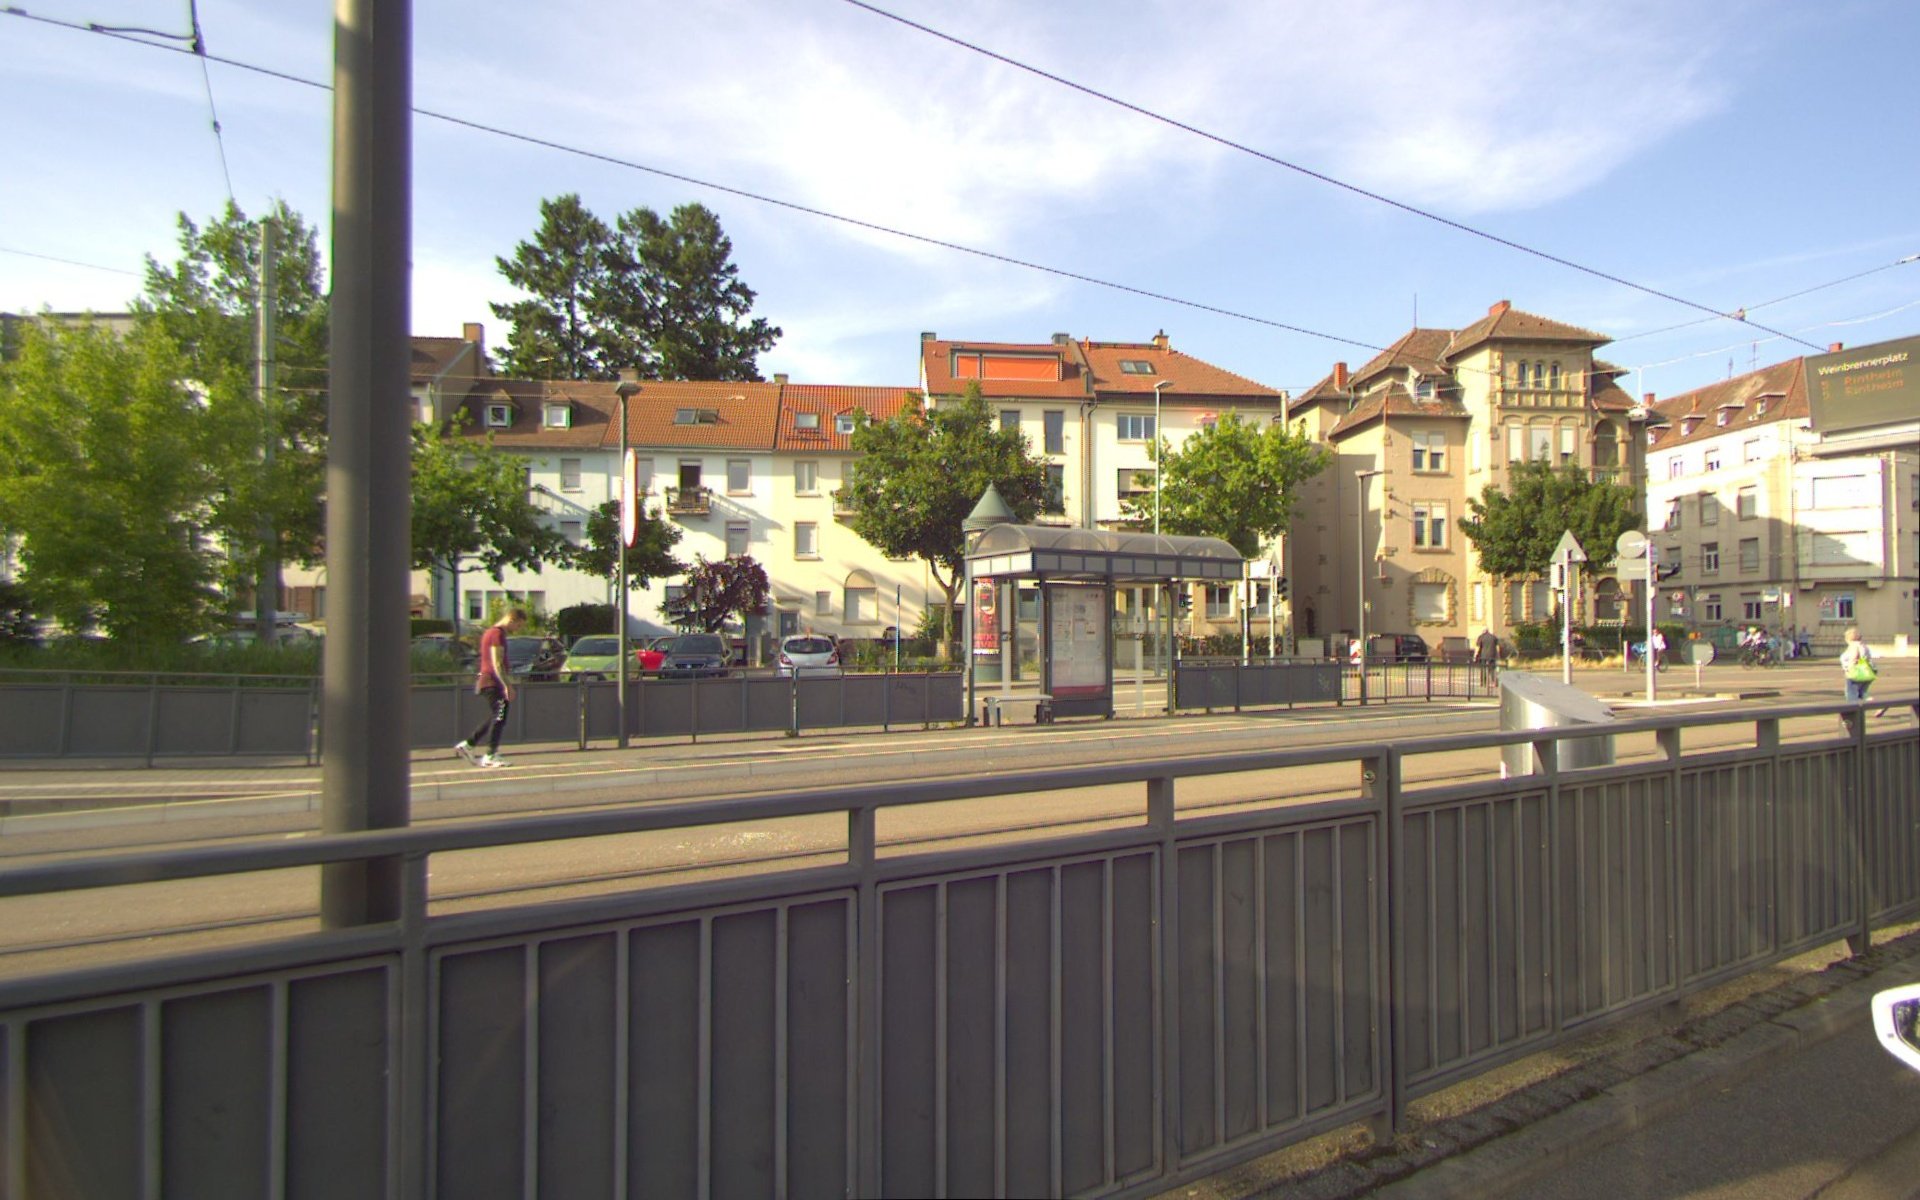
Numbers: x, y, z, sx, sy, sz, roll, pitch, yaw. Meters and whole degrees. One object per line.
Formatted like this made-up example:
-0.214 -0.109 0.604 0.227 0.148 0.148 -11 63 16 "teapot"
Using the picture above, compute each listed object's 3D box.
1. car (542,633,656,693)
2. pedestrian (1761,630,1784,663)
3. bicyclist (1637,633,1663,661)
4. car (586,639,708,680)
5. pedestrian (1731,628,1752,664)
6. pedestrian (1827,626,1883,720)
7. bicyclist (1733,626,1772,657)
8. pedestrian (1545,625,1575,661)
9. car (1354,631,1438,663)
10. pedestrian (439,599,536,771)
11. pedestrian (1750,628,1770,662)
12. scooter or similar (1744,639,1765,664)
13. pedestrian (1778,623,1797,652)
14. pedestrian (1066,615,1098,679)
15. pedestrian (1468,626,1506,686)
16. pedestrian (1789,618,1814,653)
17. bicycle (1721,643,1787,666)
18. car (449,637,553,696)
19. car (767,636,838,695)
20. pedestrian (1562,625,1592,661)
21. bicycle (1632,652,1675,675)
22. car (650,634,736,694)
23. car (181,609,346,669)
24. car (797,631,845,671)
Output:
-9.677 1.659 27.265 1.813 1.505 3.999 0 -2 -3 "car"
38.127 2.182 47.135 0.702 1.561 0.626 1 -2 -30 "pedestrian"
25.874 1.756 37.664 0.670 1.058 0.511 1 -2 -23 "bicyclist"
-11.225 2.124 36.249 3.927 1.416 1.836 0 -2 -9 "car"
35.185 2.068 45.230 0.601 1.647 0.506 1 -2 -29 "pedestrian"
15.880 1.278 17.824 0.627 1.620 0.608 1 -2 -36 "pedestrian"
32.680 1.702 41.414 1.157 1.278 0.762 1 -2 -22 "bicyclist"
26.884 1.914 45.002 0.768 1.572 0.831 0 -2 -8 "pedestrian"
20.371 2.172 47.130 1.732 1.327 4.111 2 0 -7 "car"
-4.911 0.876 10.451 0.867 1.706 0.551 1 -5 -30 "pedestrian"
35.486 1.988 44.563 0.540 1.520 0.437 0 -2 -15 "pedestrian"
35.890 2.308 45.376 0.675 1.093 0.541 2 0 -30 "scooter or similar"
48.400 2.180 58.737 0.576 1.682 0.620 0 -2 -14 "pedestrian"
3.418 1.308 28.266 0.750 1.769 0.548 0 -2 -12 "pedestrian"
14.787 1.558 28.205 0.778 1.667 0.757 -1 -2 16 "pedestrian"
49.321 2.086 58.862 0.773 2.040 0.775 0 -2 -15 "pedestrian"
32.735 2.246 41.421 2.954 0.926 0.783 1 -2 -22 "bicycle"
-11.881 1.678 26.256 1.968 1.416 3.985 0 -2 -18 "car"
-4.347 1.767 27.826 1.815 1.505 3.995 0 -2 -9 "car"
27.019 1.875 44.001 0.768 1.572 0.831 0 -2 -8 "pedestrian"
26.022 2.377 37.710 1.662 0.845 0.525 1 -2 -23 "bicycle"
-7.164 1.684 27.288 1.815 1.505 3.995 0 -2 -9 "car"
-18.662 1.055 27.170 1.813 1.505 3.999 0 -2 -3 "car"
-6.057 2.199 44.209 1.962 1.684 3.997 0 -2 -6 "car"
